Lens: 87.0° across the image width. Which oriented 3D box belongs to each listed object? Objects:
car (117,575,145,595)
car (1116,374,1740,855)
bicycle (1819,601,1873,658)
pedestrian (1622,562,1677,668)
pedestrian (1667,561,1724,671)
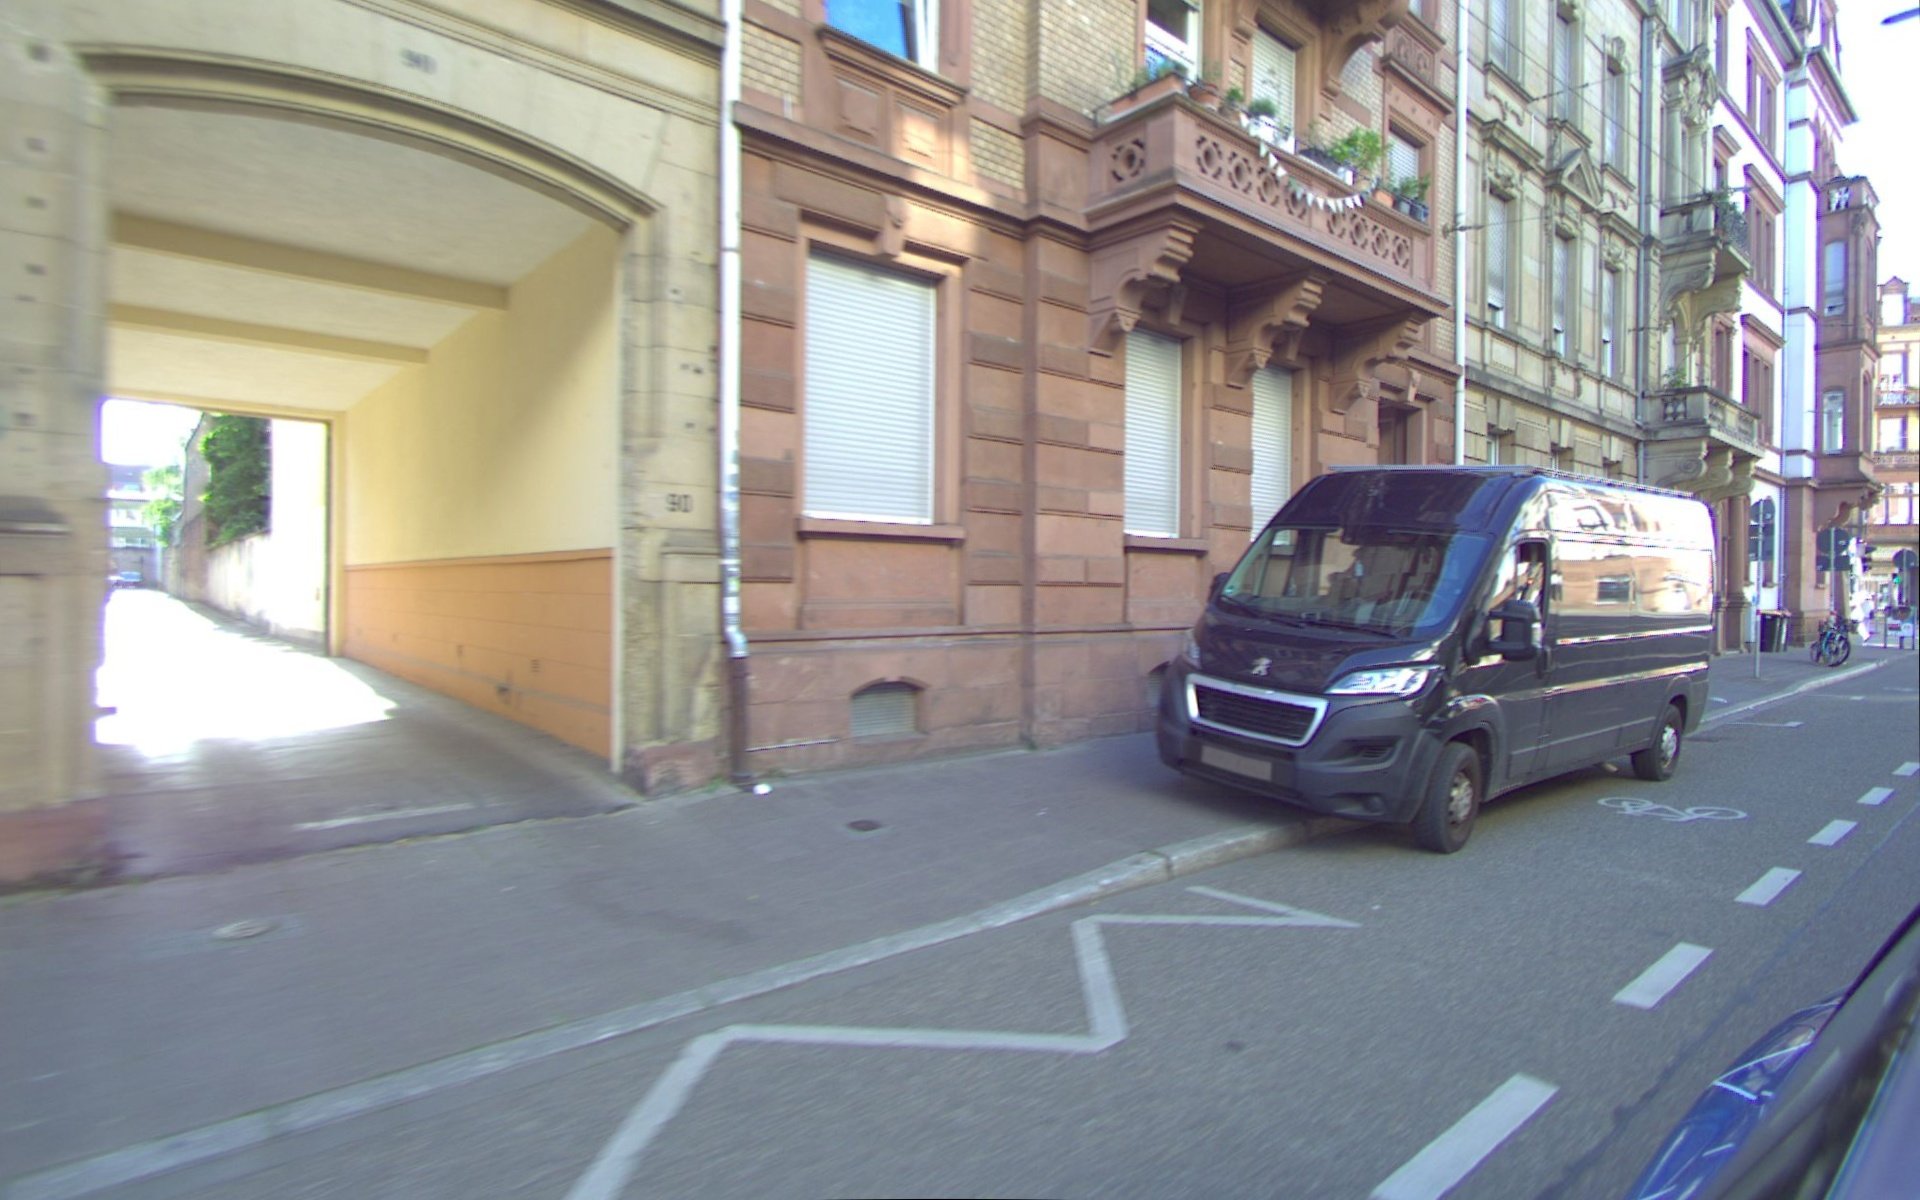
[{"bbox_3d":[-77.222,-1.424,94.317,1.964,1.805,3.995,-1,0,-39],"label":"car"},{"bbox_3d":[3.977,0.036,7.961,5.750,2.524,2.128,-1,0,-39],"label":"car"},{"bbox_3d":[19.075,0.621,21.788,1.659,1.164,0.647,0,1,-41],"label":"bicycle"},{"bbox_3d":[12.340,0.260,18.116,0.742,1.847,0.634,0,0,-41],"label":"pedestrian"},{"bbox_3d":[12.737,0.261,17.525,0.742,1.847,0.634,0,0,-41],"label":"pedestrian"}]
